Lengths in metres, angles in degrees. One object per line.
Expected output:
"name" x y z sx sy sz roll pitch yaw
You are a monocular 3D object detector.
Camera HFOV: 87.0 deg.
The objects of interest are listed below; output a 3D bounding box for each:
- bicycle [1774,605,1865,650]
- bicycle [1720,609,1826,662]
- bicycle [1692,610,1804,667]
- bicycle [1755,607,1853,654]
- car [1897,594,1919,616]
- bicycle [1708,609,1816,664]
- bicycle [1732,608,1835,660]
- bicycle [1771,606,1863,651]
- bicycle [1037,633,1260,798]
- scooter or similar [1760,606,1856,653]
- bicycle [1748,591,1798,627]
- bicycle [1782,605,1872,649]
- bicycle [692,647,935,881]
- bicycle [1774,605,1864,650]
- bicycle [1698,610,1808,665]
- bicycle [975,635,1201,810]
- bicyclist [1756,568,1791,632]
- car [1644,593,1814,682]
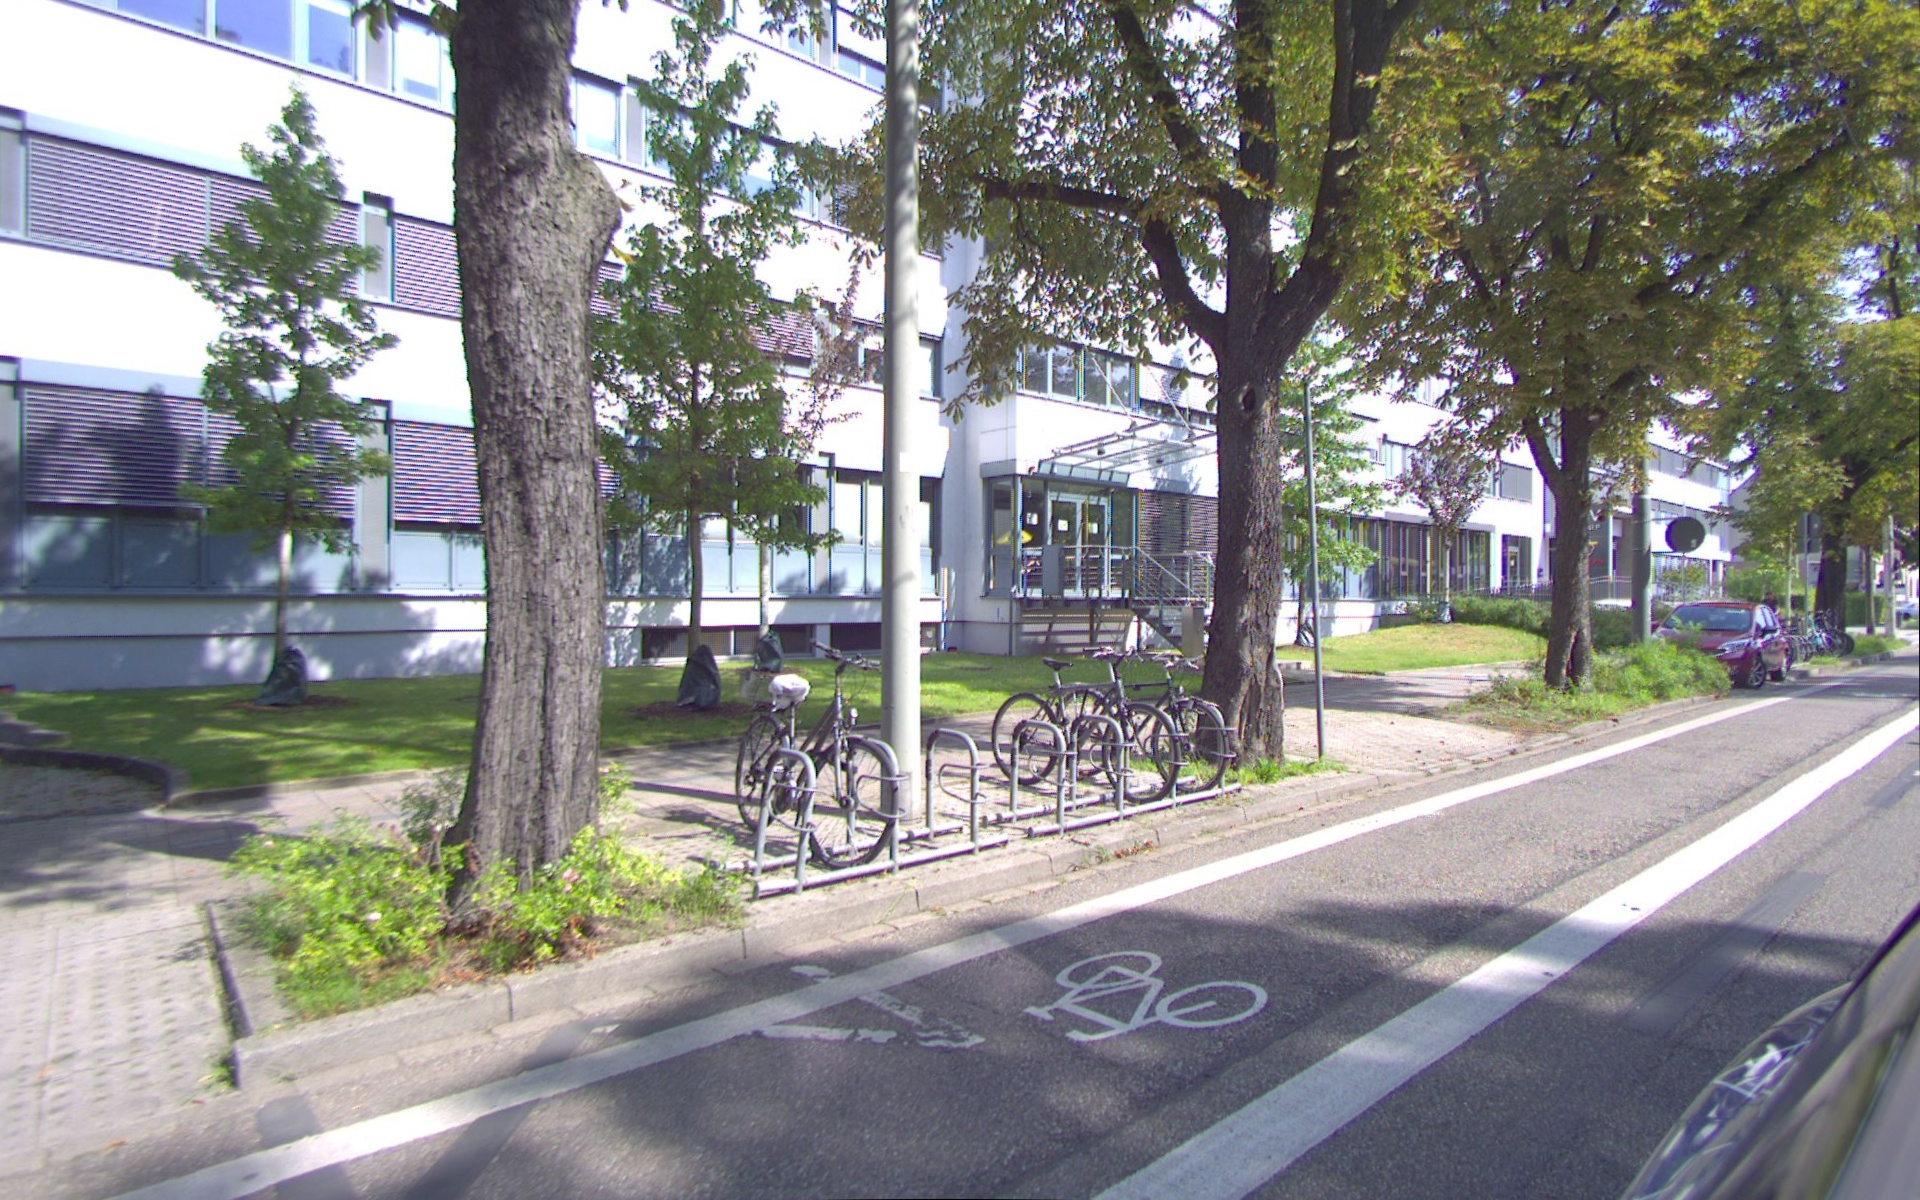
"bicycle" 22.802 0.712 26.869 0.531 1.085 1.774 0 1 -41
"bicycle" 18.084 0.765 22.549 0.531 1.085 1.774 0 1 -41
"bicycle" 16.405 0.784 21.097 0.531 1.085 1.774 0 1 -41
"bicycle" 20.790 0.735 24.956 0.531 1.085 1.774 0 1 -41
"car" 69.296 0.319 71.439 4.540 1.534 1.930 0 0 45
"bicycle" 17.453 0.772 22.062 0.531 1.085 1.774 0 1 -41
"bicycle" 18.898 0.756 23.263 0.531 1.085 1.774 0 1 -41
"bicycle" 22.379 0.717 26.455 0.531 1.085 1.774 0 1 -41
"bicycle" 1.429 0.840 7.973 0.531 1.063 1.774 0 1 -41
"scooter or similar" 21.211 0.730 25.352 0.531 1.085 1.774 0 1 -41
"bicycle" 26.677 0.273 33.196 1.135 1.139 2.498 0 0 42
"bicycle" 23.347 0.706 27.284 0.531 1.085 1.774 0 1 -41
"bicycle" -0.919 0.866 5.947 0.531 1.063 1.774 0 1 -41
"bicycle" 22.779 0.712 26.863 0.531 1.085 1.774 0 1 -41
"bicycle" 16.937 0.778 21.646 0.531 1.085 1.774 0 1 -41
"bicycle" 0.900 0.846 7.568 0.531 1.063 1.774 0 1 -41
"bicyclist" 26.625 -0.014 33.133 0.780 2.039 1.254 -1 0 43
"car" 14.596 0.617 19.134 4.200 1.480 1.759 0 1 -41
